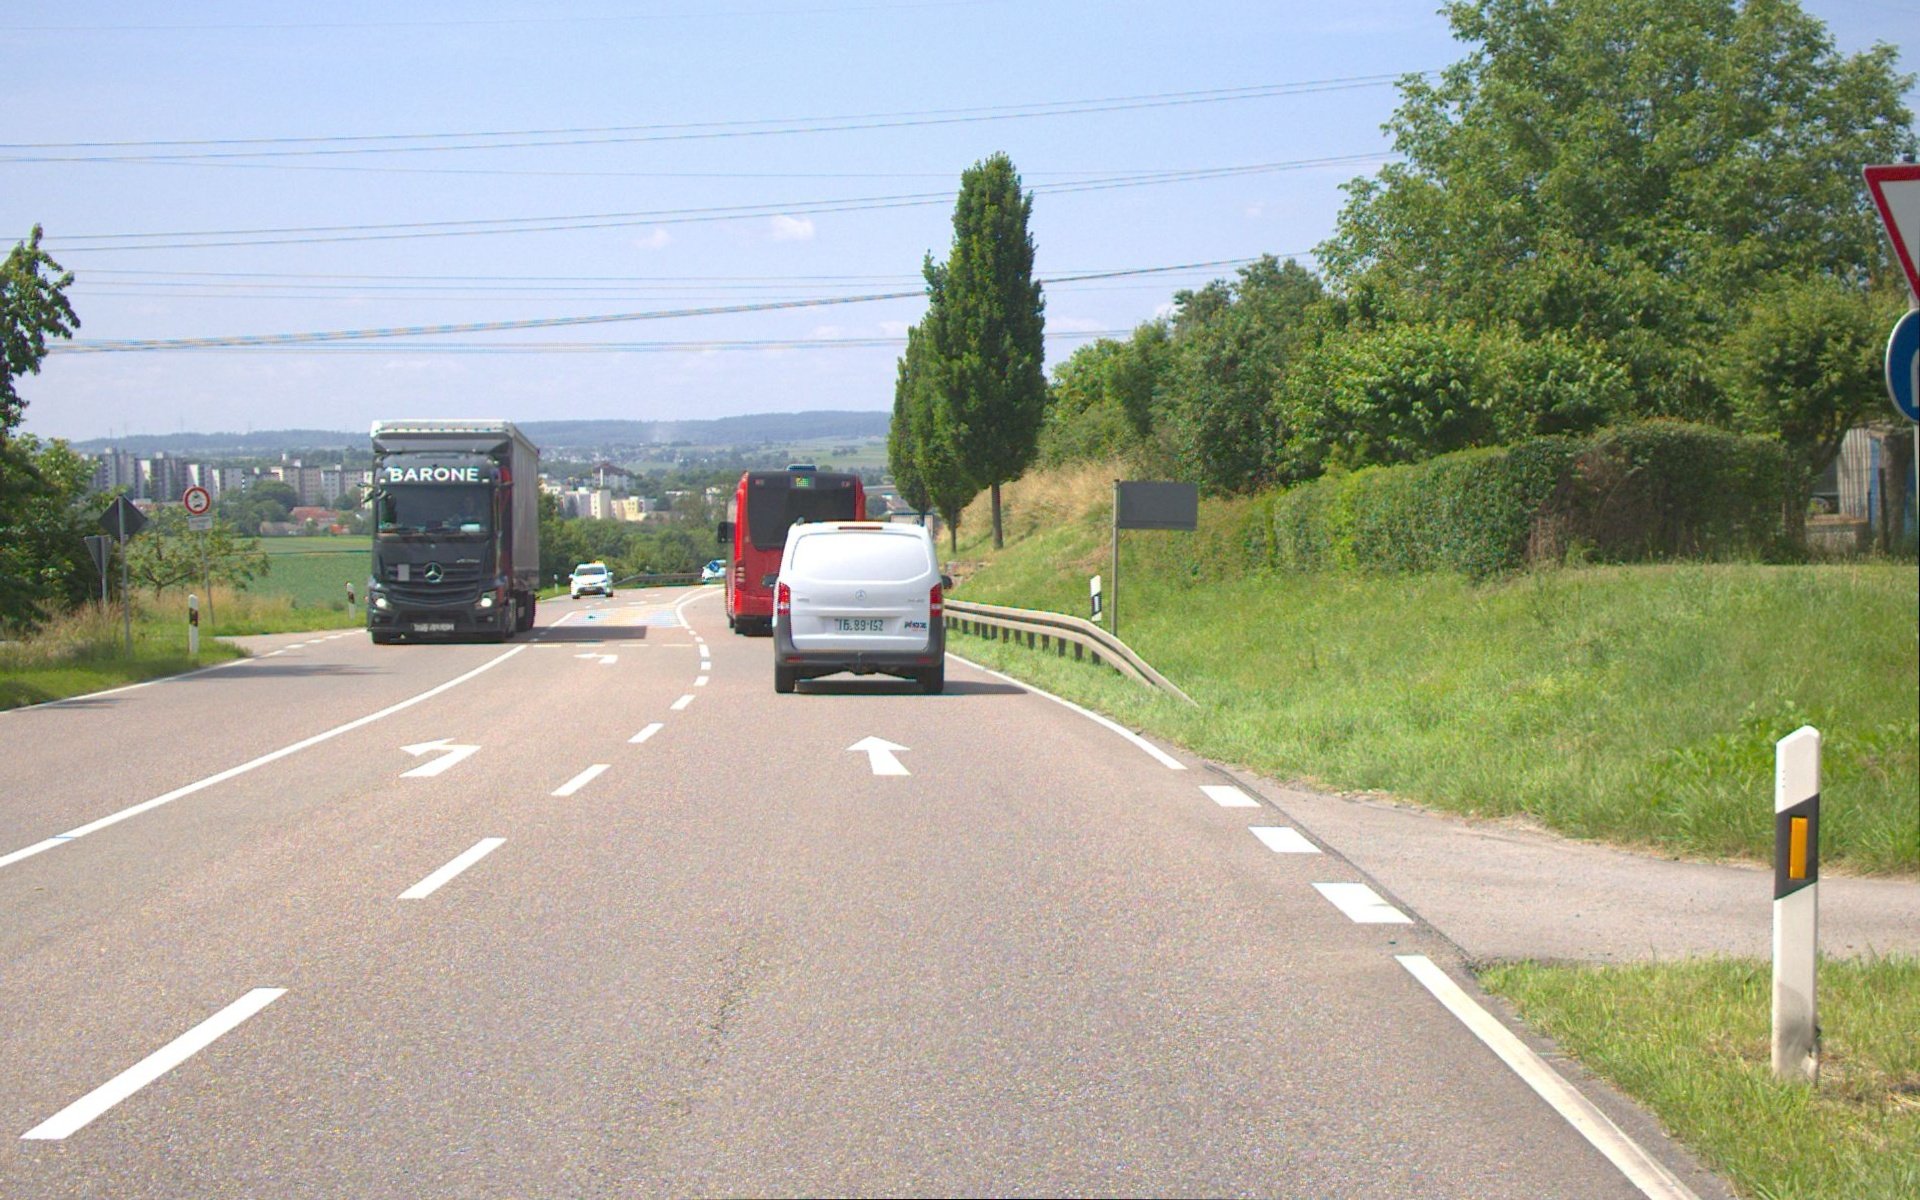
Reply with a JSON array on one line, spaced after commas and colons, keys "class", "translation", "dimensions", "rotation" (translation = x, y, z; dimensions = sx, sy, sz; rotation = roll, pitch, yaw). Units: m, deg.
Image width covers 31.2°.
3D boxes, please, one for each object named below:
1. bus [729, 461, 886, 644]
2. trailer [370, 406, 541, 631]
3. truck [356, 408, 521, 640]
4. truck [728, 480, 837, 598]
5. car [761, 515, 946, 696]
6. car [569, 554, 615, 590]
[{"class": "bus", "translation": [-3.368, -1.186, 72.495], "dimensions": [2.747, 3.341, 13.225], "rotation": [-3, 3, -4]}, {"class": "trailer", "translation": [-10.151, -1.600, 70.375], "dimensions": [2.592, 4.128, 13.743], "rotation": [-1, 1, -5]}, {"class": "truck", "translation": [-9.578, -1.380, 63.591], "dimensions": [2.585, 4.090, 5.443], "rotation": [-1, 1, -4]}, {"class": "truck", "translation": [-7.073, -2.494, 139.405], "dimensions": [3.488, 4.408, 14.903], "rotation": [-2, 1, 0]}, {"class": "car", "translation": [-1.167, 0.016, 38.976], "dimensions": [1.923, 1.883, 4.000], "rotation": [-2, 1, -1]}, {"class": "car", "translation": [-17.100, -1.323, 159.811], "dimensions": [1.853, 1.560, 4.075], "rotation": [-2, 1, -3]}]
